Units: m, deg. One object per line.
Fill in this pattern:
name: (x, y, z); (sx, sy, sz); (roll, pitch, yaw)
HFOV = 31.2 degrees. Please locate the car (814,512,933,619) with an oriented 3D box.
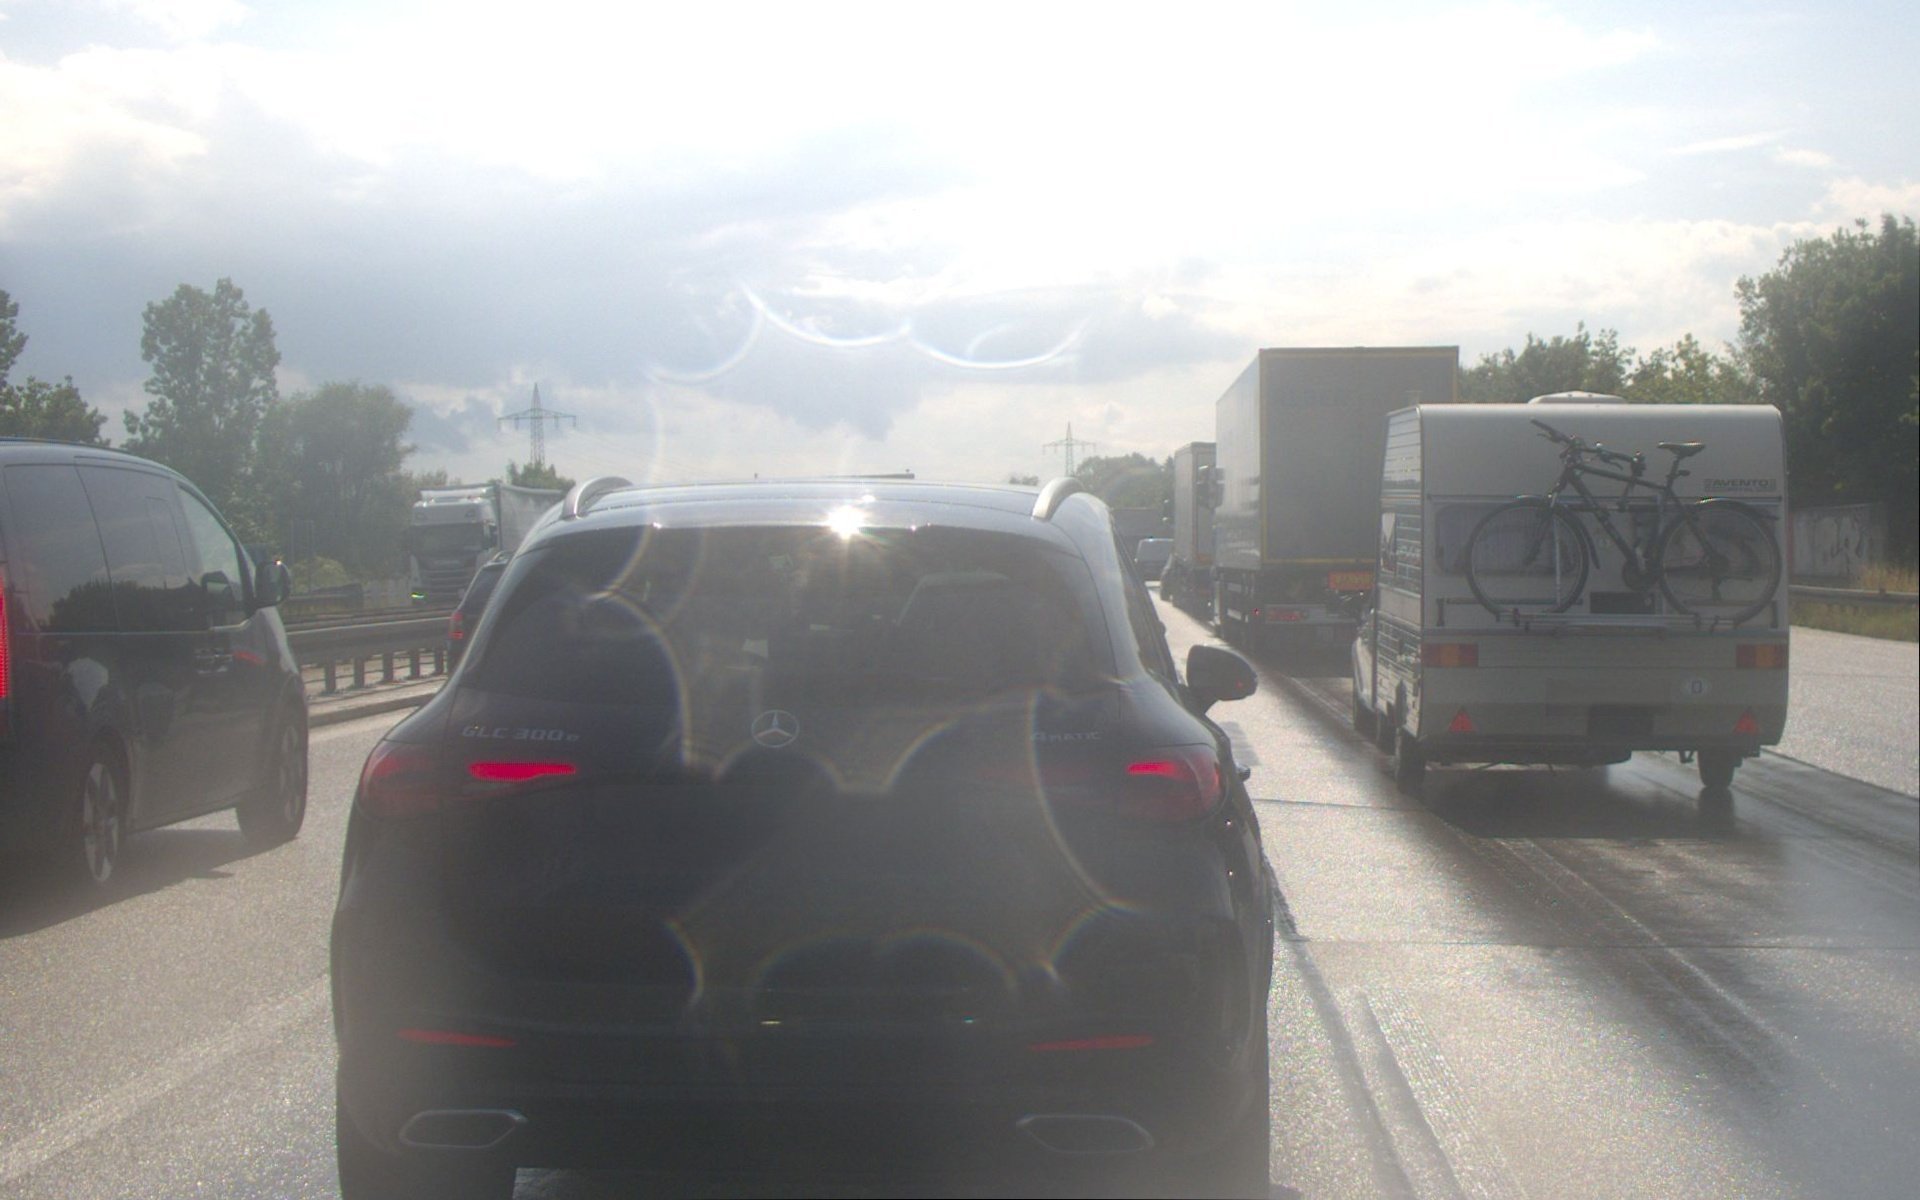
car: (-1.748, -0.721, 70.628); (1.994, 2.007, 4.000); (4, 1, 3)

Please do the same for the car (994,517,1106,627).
car: (1.752, -0.553, 65.666); (1.994, 2.007, 4.000); (1, 1, 3)

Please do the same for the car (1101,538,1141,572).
car: (8.430, -2.353, 179.869); (1.876, 1.754, 4.000); (1, 1, 0)

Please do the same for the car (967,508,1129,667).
car: (1.216, -0.192, 45.793); (1.994, 2.007, 4.000); (1, 1, 3)

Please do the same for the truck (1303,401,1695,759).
truck: (4.048, -0.177, 26.879); (2.374, 2.468, 5.756); (1, 1, 3)

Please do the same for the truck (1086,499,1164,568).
truck: (9.792, -3.945, 205.554); (3.842, 4.003, 11.222); (1, 1, -1)

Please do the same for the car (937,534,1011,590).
car: (0.466, -1.206, 107.579); (1.994, 1.610, 4.000); (4, 1, 3)

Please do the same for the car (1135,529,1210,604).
car: (6.146, -0.989, 99.296); (1.994, 2.007, 4.000); (4, 1, 3)

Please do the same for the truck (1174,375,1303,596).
truck: (6.348, -2.557, 79.222); (2.502, 4.813, 7.543); (1, 1, 2)

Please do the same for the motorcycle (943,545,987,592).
motorcycle: (0.148, -0.882, 95.414); (1.074, 1.267, 2.690); (0, 1, 3)

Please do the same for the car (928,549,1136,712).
car: (0.732, 0.240, 32.187); (1.806, 1.402, 4.000); (1, 1, 3)

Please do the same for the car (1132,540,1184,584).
car: (8.053, -1.552, 140.164); (1.876, 1.754, 4.000); (1, 1, 0)

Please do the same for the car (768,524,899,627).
car: (-2.323, -0.477, 63.983); (1.994, 1.766, 4.000); (2, 1, 3)

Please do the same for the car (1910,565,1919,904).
car: (5.333, 0.589, 12.911); (1.848, 1.459, 4.257); (-1, 1, -8)

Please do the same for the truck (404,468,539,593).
truck: (-15.436, -2.128, 109.185); (2.862, 3.808, 7.877); (0, 0, 2)

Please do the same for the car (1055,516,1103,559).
car: (5.038, -2.641, 146.163); (1.876, 1.754, 4.000); (1, 1, 0)

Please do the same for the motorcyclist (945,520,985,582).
motorcyclist: (0.148, -1.364, 95.366); (1.064, 1.712, 0.785); (0, 1, 3)

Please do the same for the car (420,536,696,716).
car: (-3.560, 0.183, 31.153); (1.757, 1.511, 4.208); (0, 1, 4)

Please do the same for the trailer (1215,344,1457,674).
trailer: (5.112, -1.220, 47.757); (3.007, 4.152, 8.534); (1, 1, 5)

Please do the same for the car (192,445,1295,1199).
car: (-0.298, 0.522, 8.394); (1.994, 1.656, 4.405); (0, 1, 3)

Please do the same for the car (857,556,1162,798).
car: (0.404, 0.424, 22.015); (1.757, 1.382, 3.945); (0, 1, 4)

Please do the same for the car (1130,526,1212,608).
car: (5.416, -0.864, 88.388); (1.994, 2.007, 4.000); (2, 1, 3)

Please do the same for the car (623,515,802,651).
car: (-3.255, -0.244, 45.880); (1.993, 1.714, 4.000); (1, 1, 1)

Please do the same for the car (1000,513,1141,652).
car: (1.789, -0.301, 54.552); (1.994, 2.007, 4.000); (4, 1, 3)

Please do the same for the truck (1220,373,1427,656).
truck: (5.581, -1.307, 53.309); (2.996, 4.152, 5.239); (1, 1, 5)

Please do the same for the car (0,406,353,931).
car: (-4.408, 0.216, 15.820); (1.994, 2.007, 5.269); (0, 1, 4)

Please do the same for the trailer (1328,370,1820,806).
trailer: (3.869, -0.111, 23.006); (2.374, 2.475, 6.522); (1, 1, 3)
